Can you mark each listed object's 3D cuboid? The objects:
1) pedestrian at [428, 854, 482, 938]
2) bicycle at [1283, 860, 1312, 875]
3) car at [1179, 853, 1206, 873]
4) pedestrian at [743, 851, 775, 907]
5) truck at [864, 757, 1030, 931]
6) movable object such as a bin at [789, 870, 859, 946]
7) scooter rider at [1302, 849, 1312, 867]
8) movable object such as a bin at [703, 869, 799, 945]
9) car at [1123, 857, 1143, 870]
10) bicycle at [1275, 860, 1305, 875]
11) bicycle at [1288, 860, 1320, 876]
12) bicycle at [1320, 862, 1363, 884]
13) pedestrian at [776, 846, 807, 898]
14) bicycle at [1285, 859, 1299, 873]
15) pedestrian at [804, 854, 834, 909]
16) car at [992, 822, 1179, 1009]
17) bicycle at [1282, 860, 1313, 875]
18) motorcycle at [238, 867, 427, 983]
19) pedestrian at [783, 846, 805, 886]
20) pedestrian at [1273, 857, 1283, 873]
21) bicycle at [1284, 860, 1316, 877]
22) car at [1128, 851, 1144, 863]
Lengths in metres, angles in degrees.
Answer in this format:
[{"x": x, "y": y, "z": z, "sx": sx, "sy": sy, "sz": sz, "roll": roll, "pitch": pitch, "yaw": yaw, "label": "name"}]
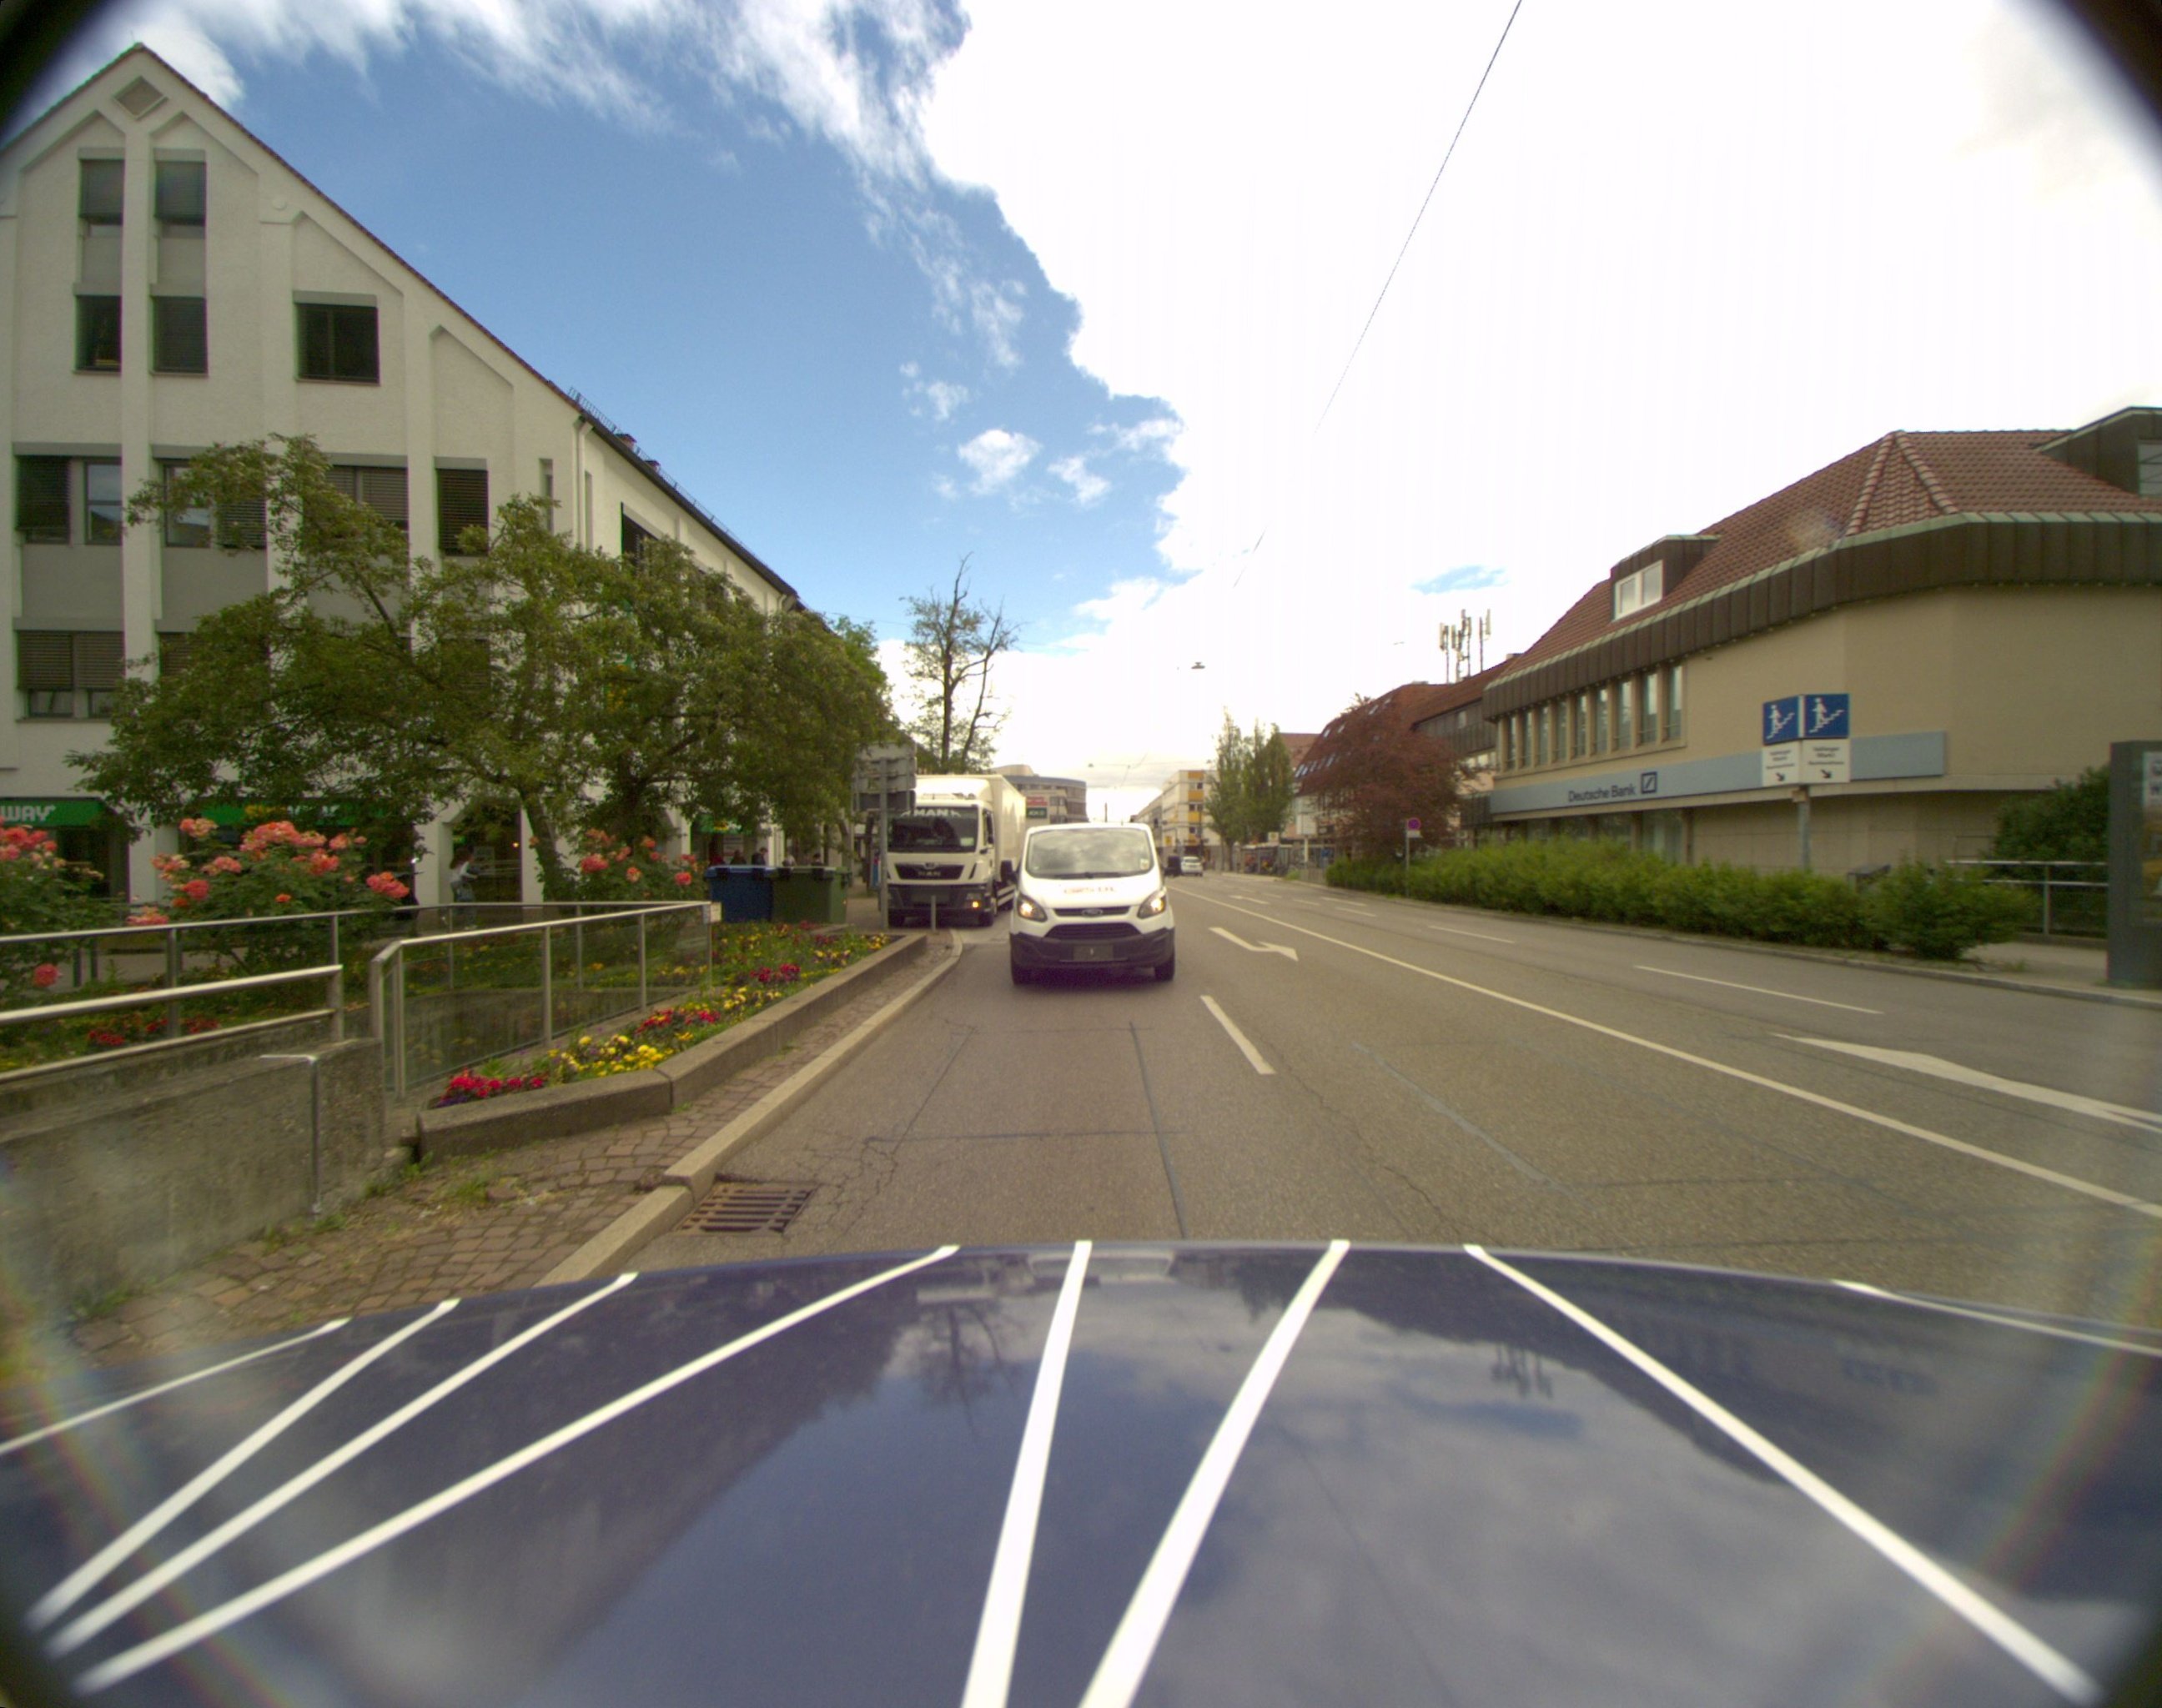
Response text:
[{"x": -12.059, "y": 0.793, "z": 14.644, "sx": 0.619, "sy": 1.593, "sz": 0.513, "roll": 0, "pitch": 1, "yaw": 14, "label": "pedestrian"}, {"x": 16.245, "y": 0.984, "z": 56.995, "sx": 2.025, "sy": 1.084, "sz": 0.648, "roll": -1, "pitch": 1, "yaw": -14, "label": "bicycle"}, {"x": 9.125, "y": 0.735, "z": 62.380, "sx": 1.644, "sy": 1.559, "sz": 3.926, "roll": 2, "pitch": 0, "yaw": 0, "label": "car"}, {"x": -9.282, "y": 0.707, "z": 21.915, "sx": 0.574, "sy": 1.593, "sz": 0.746, "roll": 0, "pitch": 0, "yaw": 1, "label": "pedestrian"}, {"x": -3.068, "y": -0.195, "z": 20.445, "sx": 2.695, "sy": 3.540, "sz": 9.766, "roll": 0, "pitch": 0, "yaw": 0, "label": "truck"}, {"x": -4.698, "y": 0.963, "z": 13.975, "sx": 0.883, "sy": 1.331, "sz": 1.085, "roll": 0, "pitch": 0, "yaw": 2, "label": "movable object such as a bin"}, {"x": 21.832, "y": 0.385, "z": 73.433, "sx": 0.614, "sy": 1.702, "sz": 0.588, "roll": -3, "pitch": 0, "yaw": -3, "label": "scooter rider"}, {"x": -6.122, "y": 0.956, "z": 14.194, "sx": 1.146, "sy": 1.331, "sz": 1.376, "roll": 0, "pitch": 0, "yaw": 2, "label": "movable object such as a bin"}, {"x": 6.375, "y": 1.205, "z": 93.348, "sx": 1.571, "sy": 1.531, "sz": 2.966, "roll": 1, "pitch": -1, "yaw": 23, "label": "car"}, {"x": 15.443, "y": 1.005, "z": 56.070, "sx": 2.024, "sy": 1.084, "sz": 0.649, "roll": 0, "pitch": 0, "yaw": -4, "label": "bicycle"}, {"x": 15.584, "y": 0.969, "z": 53.112, "sx": 2.024, "sy": 1.084, "sz": 0.648, "roll": 0, "pitch": 0, "yaw": -9, "label": "bicycle"}, {"x": 13.276, "y": 0.959, "z": 38.767, "sx": 2.024, "sy": 1.084, "sz": 0.648, "roll": 0, "pitch": 0, "yaw": -9, "label": "bicycle"}, {"x": -8.987, "y": 0.556, "z": 23.585, "sx": 0.745, "sy": 1.593, "sz": 0.574, "roll": 0, "pitch": 1, "yaw": -3, "label": "pedestrian"}, {"x": 17.206, "y": 0.952, "z": 62.032, "sx": 0.535, "sy": 1.084, "sz": 1.930, "roll": -1, "pitch": 0, "yaw": -2, "label": "bicycle"}, {"x": -7.783, "y": 0.797, "z": 22.603, "sx": 0.747, "sy": 1.593, "sz": 0.573, "roll": -1, "pitch": 1, "yaw": -28, "label": "pedestrian"}, {"x": 0.188, "y": 0.682, "z": 10.746, "sx": 1.998, "sy": 2.002, "sz": 5.000, "roll": -1, "pitch": 0, "yaw": 3, "label": "car"}, {"x": 15.681, "y": 0.970, "z": 55.014, "sx": 2.024, "sy": 1.084, "sz": 0.648, "roll": 0, "pitch": 0, "yaw": -9, "label": "bicycle"}, {"x": -10.318, "y": 0.914, "z": 10.600, "sx": 0.722, "sy": 1.430, "sz": 1.945, "roll": 0, "pitch": 0, "yaw": -2, "label": "motorcycle"}, {"x": -11.401, "y": 0.468, "z": 30.169, "sx": 0.747, "sy": 1.593, "sz": 0.573, "roll": -1, "pitch": 1, "yaw": -28, "label": "pedestrian"}, {"x": 16.384, "y": 0.904, "z": 63.204, "sx": 0.713, "sy": 1.356, "sz": 0.588, "roll": -1, "pitch": 0, "yaw": 2, "label": "pedestrian"}, {"x": 15.020, "y": 0.991, "z": 52.224, "sx": 2.024, "sy": 1.084, "sz": 0.648, "roll": 0, "pitch": 0, "yaw": -9, "label": "bicycle"}, {"x": 8.168, "y": 0.475, "z": 113.809, "sx": 2.074, "sy": 1.728, "sz": 4.693, "roll": 2, "pitch": 0, "yaw": 1, "label": "car"}]
